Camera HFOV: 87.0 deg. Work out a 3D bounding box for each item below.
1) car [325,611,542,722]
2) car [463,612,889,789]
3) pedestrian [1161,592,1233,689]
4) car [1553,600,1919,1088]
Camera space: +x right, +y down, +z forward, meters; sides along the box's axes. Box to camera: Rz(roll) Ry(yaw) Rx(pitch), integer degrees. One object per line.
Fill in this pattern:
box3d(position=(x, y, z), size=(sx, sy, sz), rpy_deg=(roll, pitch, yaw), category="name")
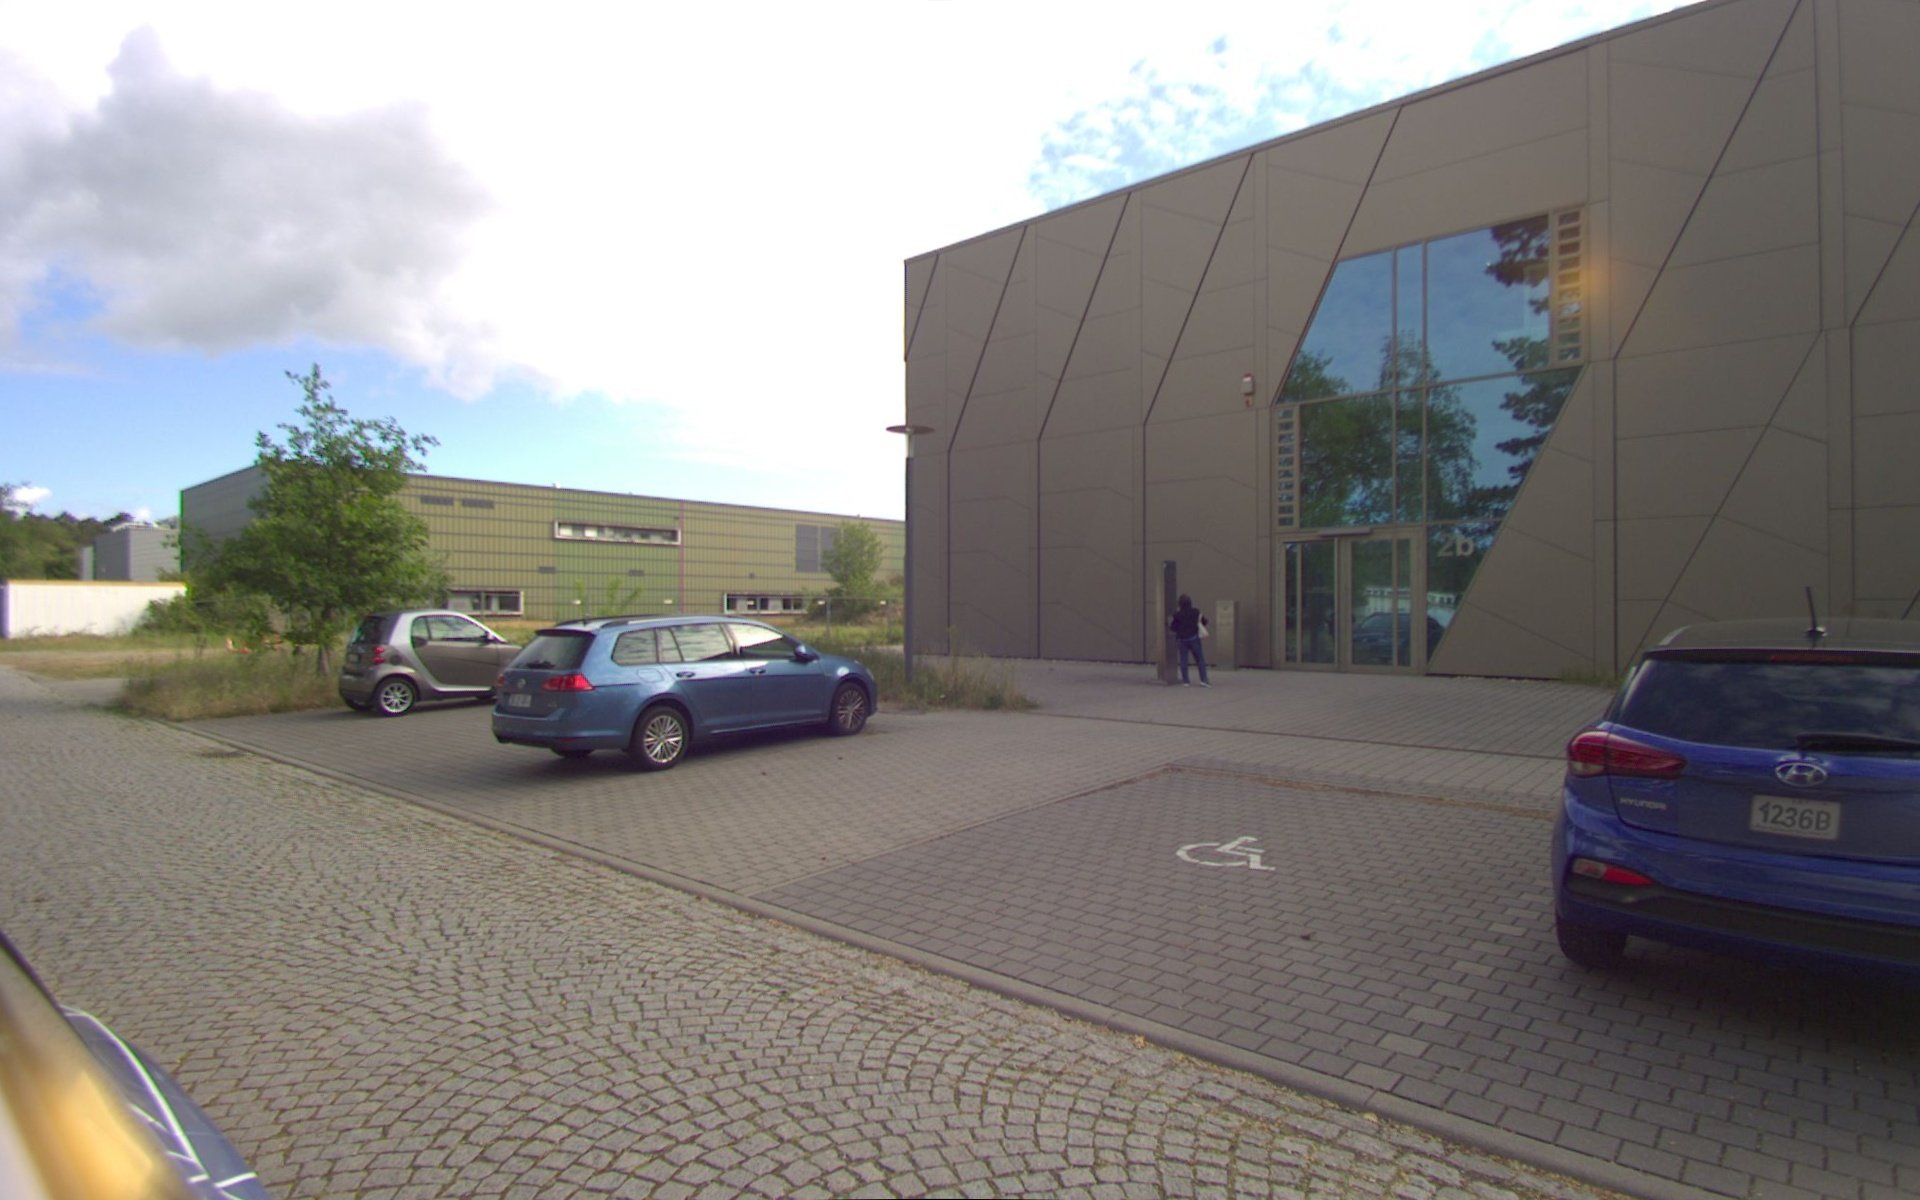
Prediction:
box3d(position=(-8.247, 0.966, 15.951), size=(1.609, 1.522, 2.627), rpy_deg=(-1, 0, 40), category="car")
box3d(position=(-2.860, 0.903, 11.041), size=(1.771, 1.439, 4.265), rpy_deg=(-1, 0, 38), category="car")
box3d(position=(3.835, 0.643, 16.359), size=(0.817, 1.506, 0.975), rpy_deg=(-1, -1, 35), category="pedestrian")
box3d(position=(4.259, 0.777, 4.625), size=(1.852, 1.489, 3.724), rpy_deg=(-1, 0, 44), category="car")
